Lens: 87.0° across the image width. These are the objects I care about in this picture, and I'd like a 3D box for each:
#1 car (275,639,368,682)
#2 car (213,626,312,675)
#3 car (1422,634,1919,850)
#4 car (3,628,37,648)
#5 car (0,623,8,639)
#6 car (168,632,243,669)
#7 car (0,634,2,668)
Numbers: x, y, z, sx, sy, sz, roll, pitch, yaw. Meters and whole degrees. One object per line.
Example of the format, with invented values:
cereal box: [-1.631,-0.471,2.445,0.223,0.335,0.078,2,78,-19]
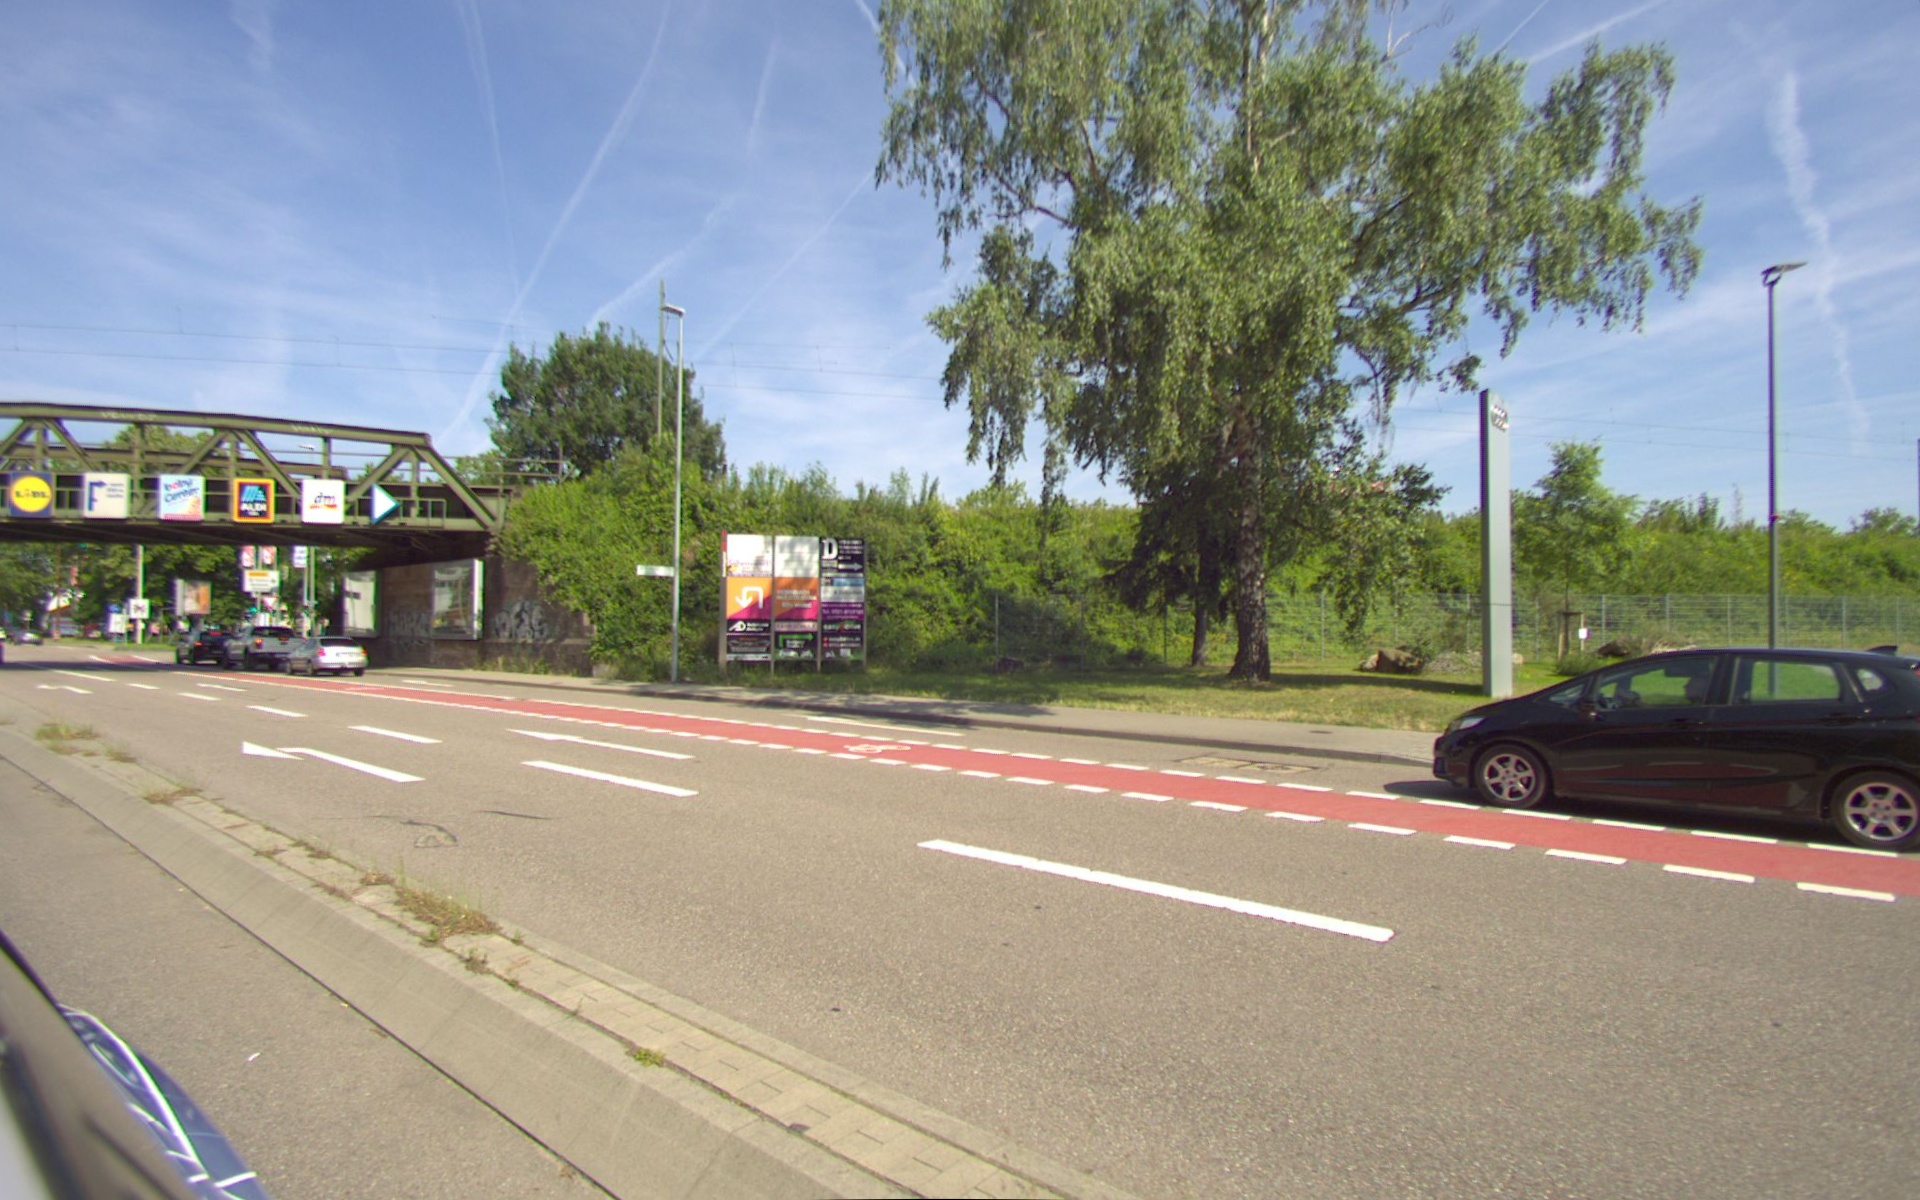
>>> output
car: [-22.597,2.097,35.764,4.317,1.398,1.618,-1,-3,42]
car: [-28.501,2.036,41.279,5.448,1.875,1.973,-1,-4,41]
car: [6.370,1.082,8.753,4.025,1.530,1.680,-1,-4,41]
car: [-85.462,3.411,91.992,3.633,1.734,1.801,-1,-1,39]
car: [-106.368,3.475,111.389,3.633,1.734,1.801,-1,-1,39]
car: [-34.706,2.298,46.529,4.385,1.608,1.853,-1,-3,41]
car: [-42.959,2.181,43.832,4.119,1.458,1.762,-1,-3,42]
